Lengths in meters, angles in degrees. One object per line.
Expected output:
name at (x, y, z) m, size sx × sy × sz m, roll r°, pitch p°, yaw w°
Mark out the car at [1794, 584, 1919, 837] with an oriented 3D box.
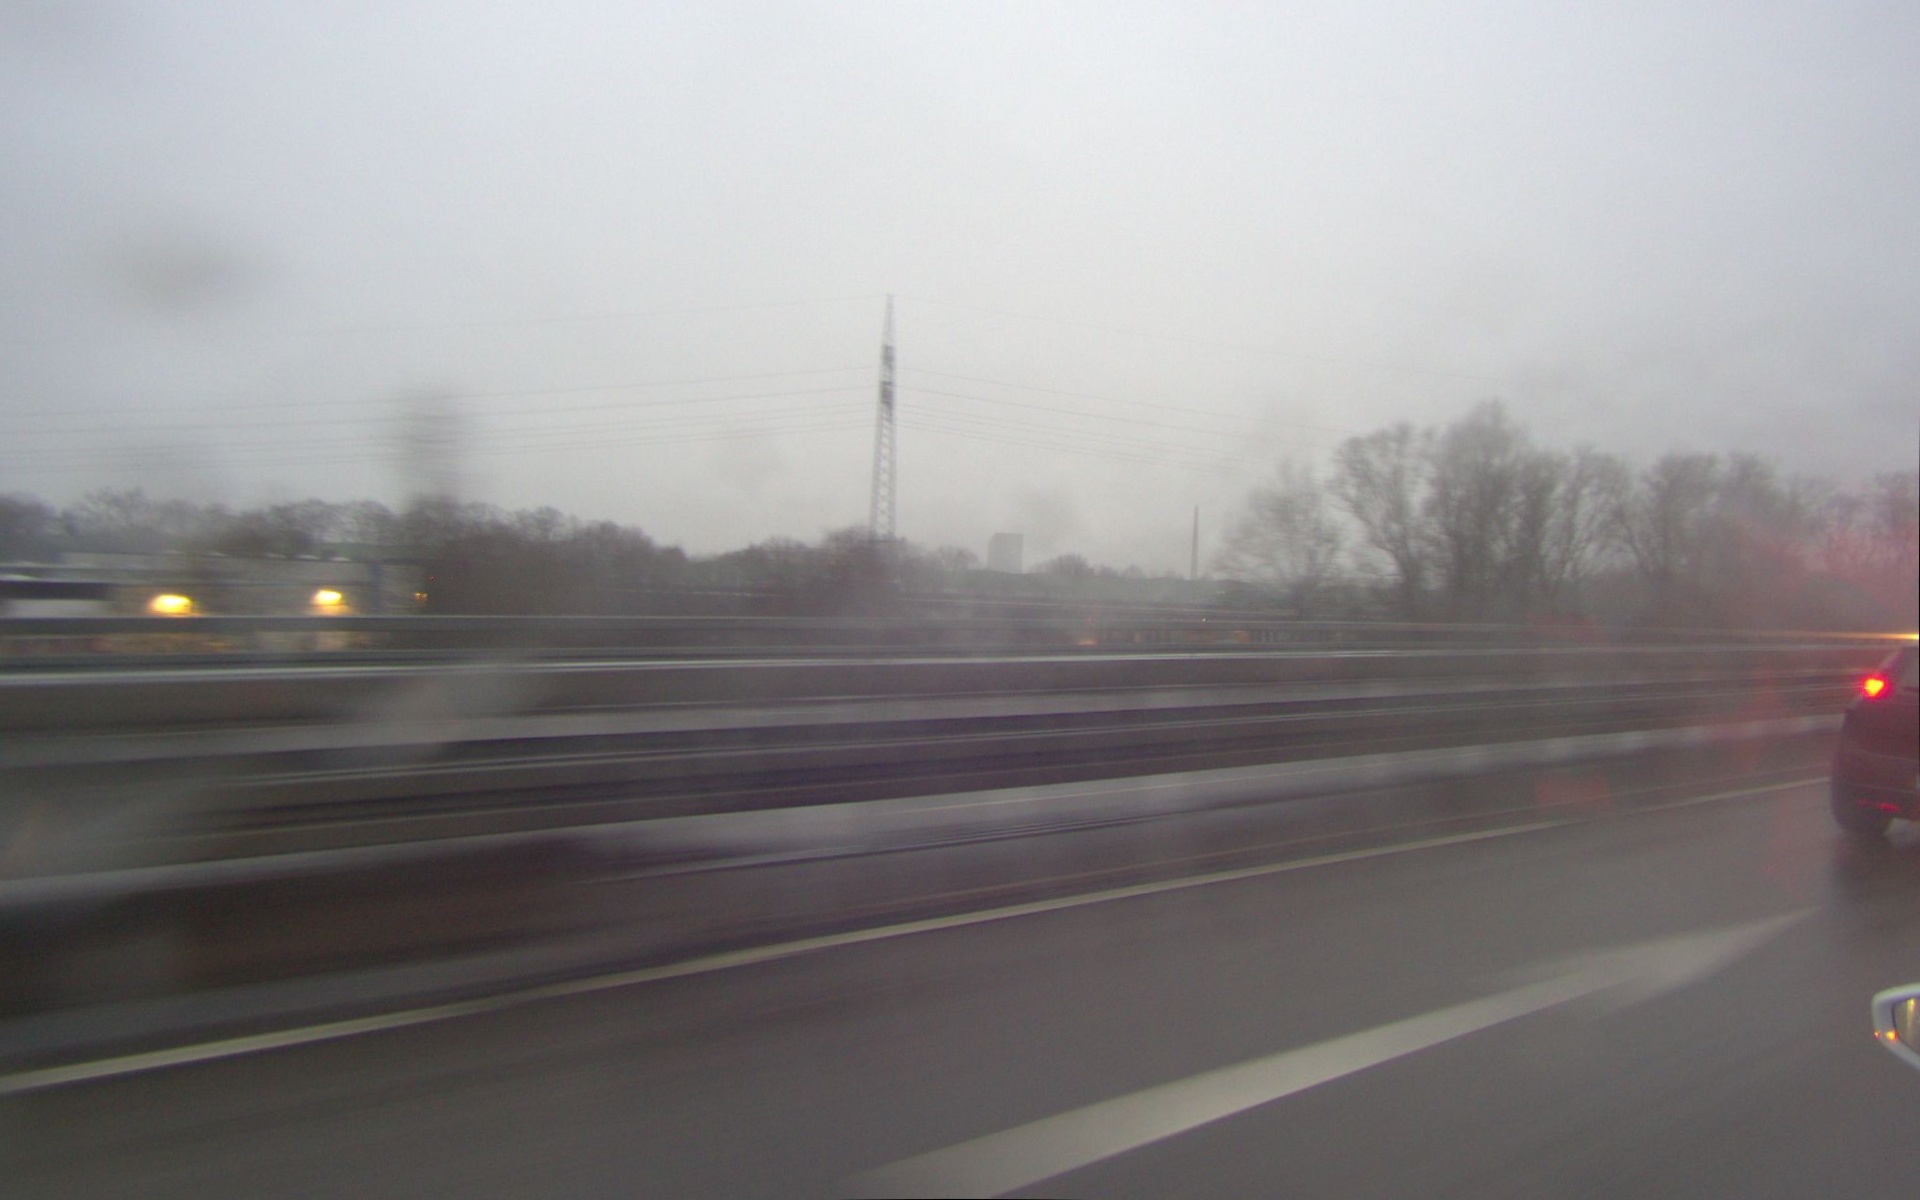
car at (7.758, 0.769, 6.941) m, size 3.993 × 1.553 × 1.723 m, roll 3°, pitch -2°, yaw -29°
